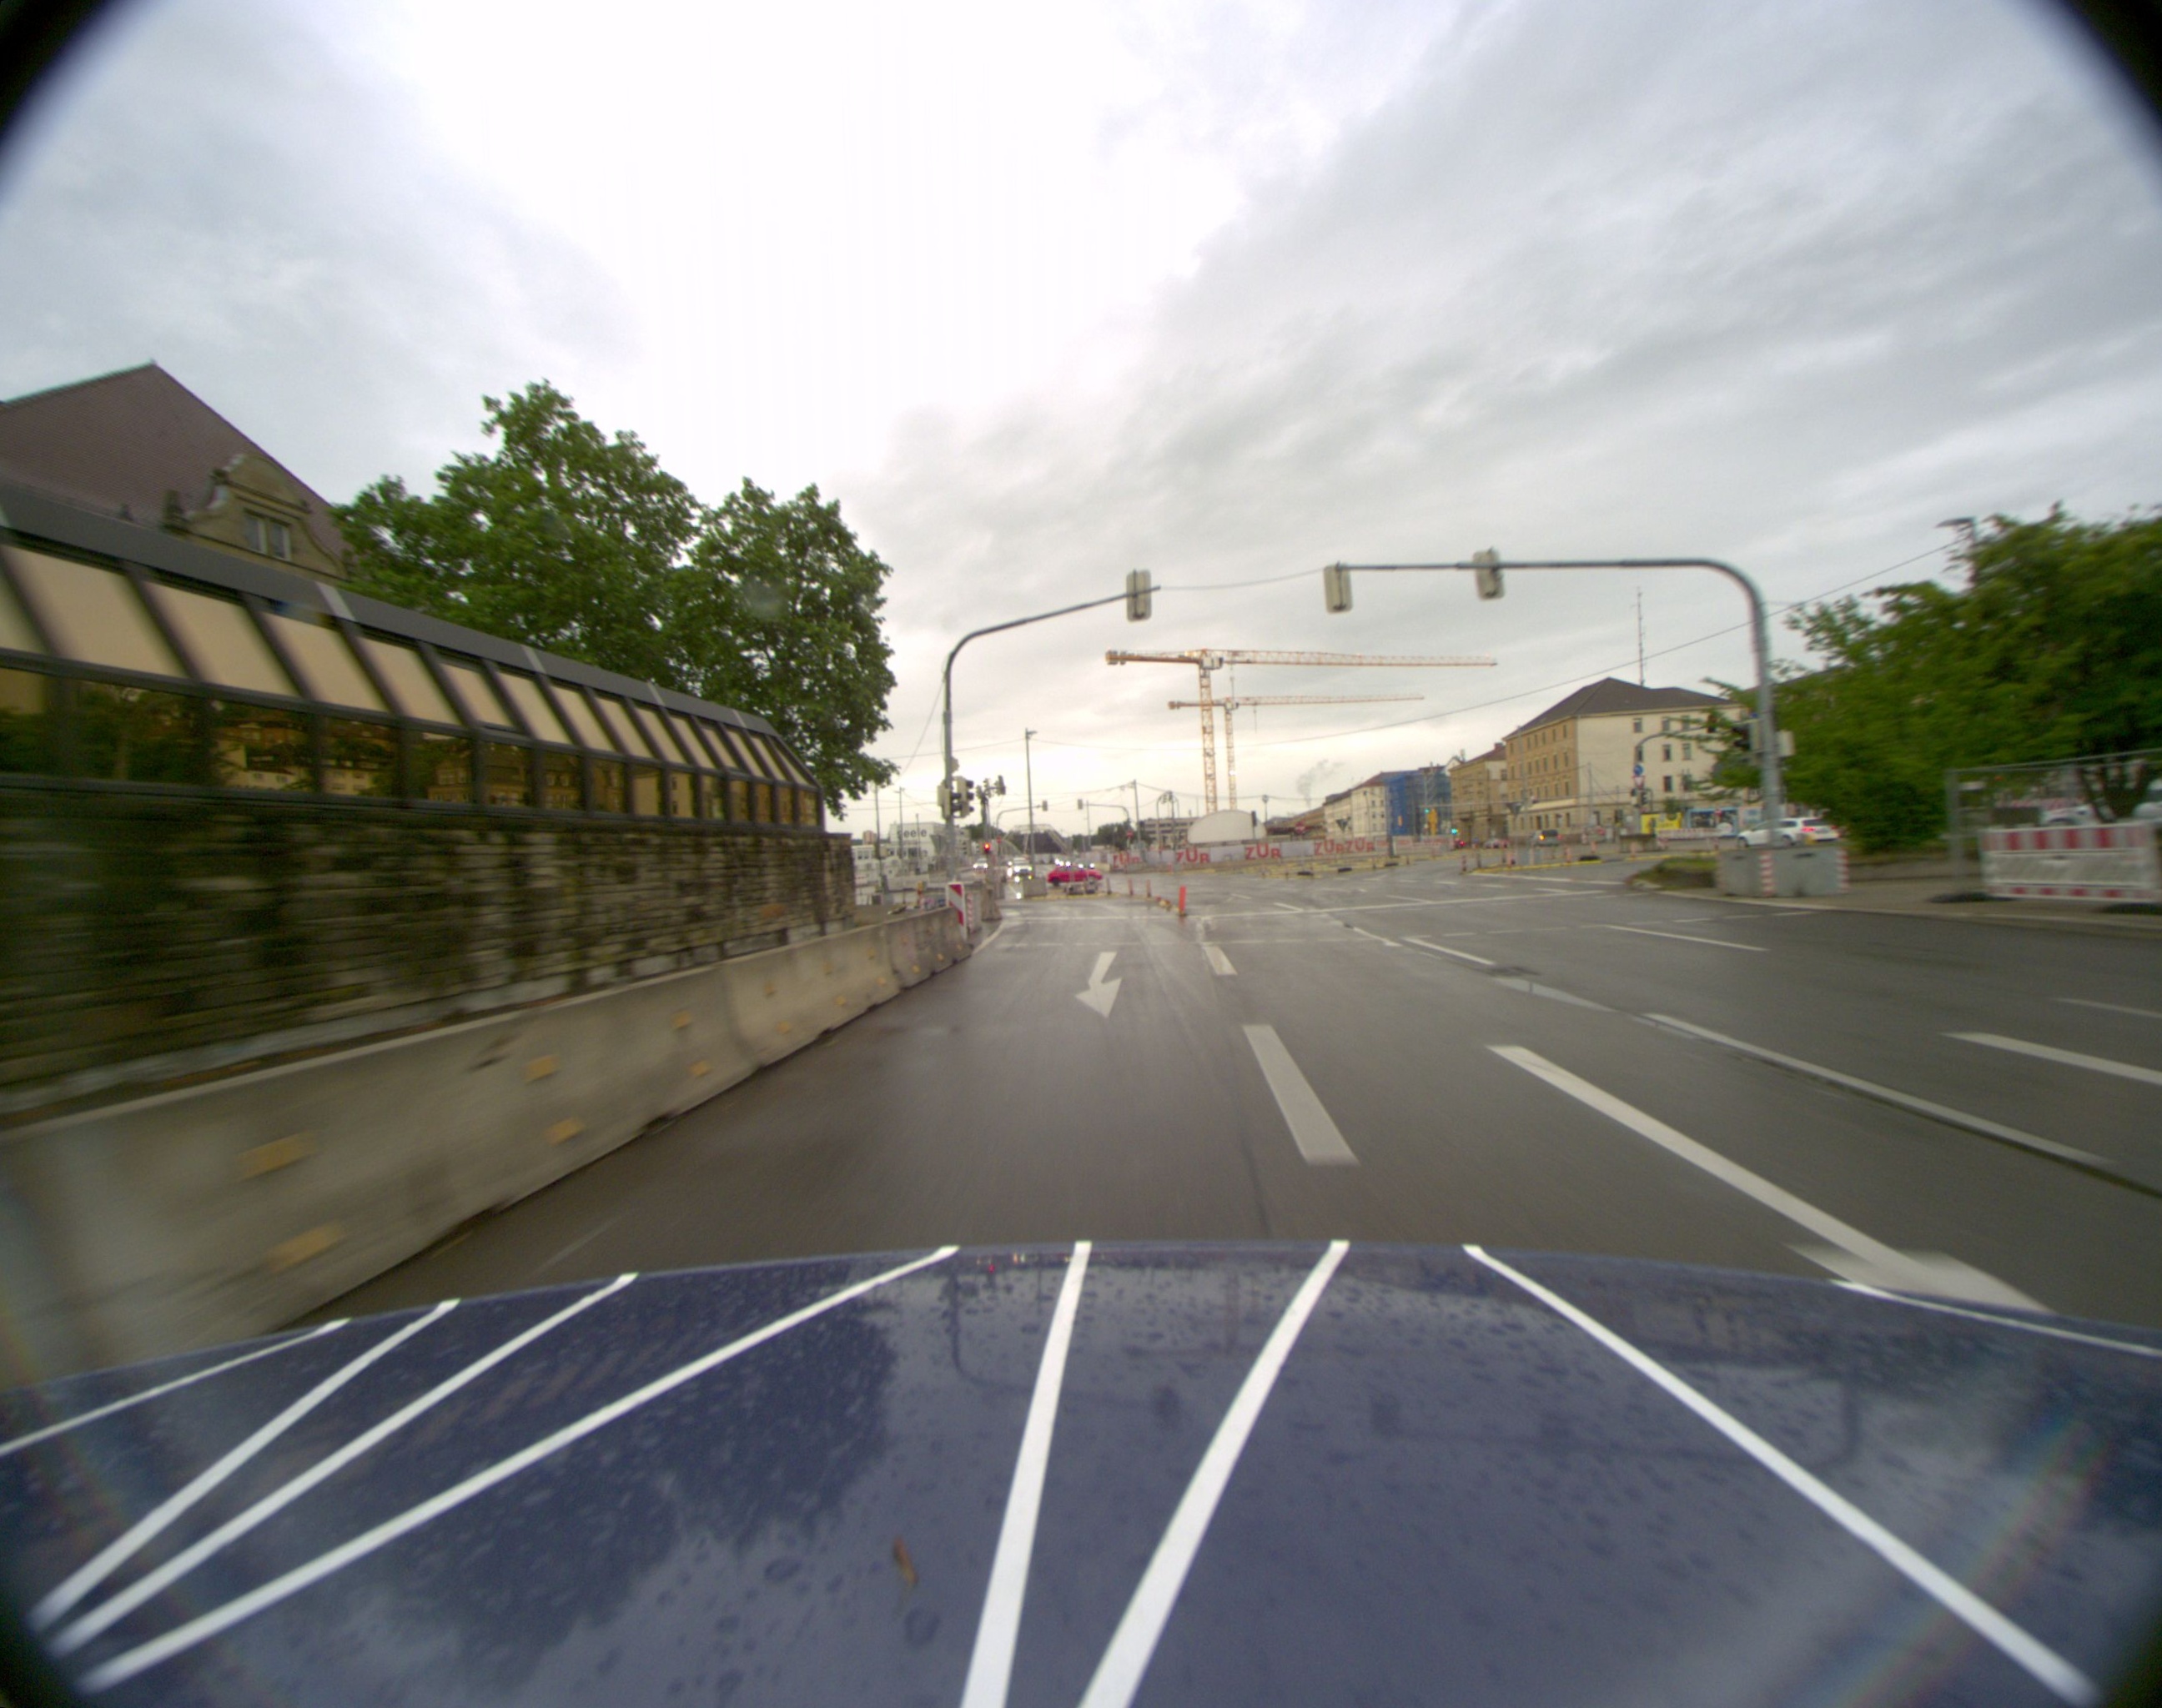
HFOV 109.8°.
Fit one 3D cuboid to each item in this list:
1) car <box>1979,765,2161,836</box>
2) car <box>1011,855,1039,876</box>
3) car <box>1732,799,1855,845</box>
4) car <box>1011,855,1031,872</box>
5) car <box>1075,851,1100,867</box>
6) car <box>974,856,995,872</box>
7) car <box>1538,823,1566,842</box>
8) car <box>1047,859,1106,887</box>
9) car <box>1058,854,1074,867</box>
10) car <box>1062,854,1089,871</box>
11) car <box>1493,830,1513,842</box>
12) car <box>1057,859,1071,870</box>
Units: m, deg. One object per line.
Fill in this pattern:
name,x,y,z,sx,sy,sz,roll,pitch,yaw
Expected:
car,35.479,-1.839,26.026,2.371,2.161,5.678,-5,1,-7
car,-6.103,1.279,82.316,2.001,2.002,4.418,-5,0,-15
car,35.779,-1.586,38.364,1.998,2.002,4.642,-5,1,5
car,-7.151,1.086,90.311,2.000,1.761,4.354,-5,0,-7
car,0.676,0.546,83.428,1.861,1.557,3.798,-5,0,-10
car,-12.302,1.236,96.638,1.999,1.761,4.356,-5,0,-1
car,50.036,-2.322,80.811,1.995,1.828,4.689,-4,1,26
car,-0.319,1.319,53.654,3.997,1.543,1.691,-5,1,1
car,-2.062,0.931,103.144,1.999,1.548,4.523,-5,0,-3
car,-0.705,1.023,89.001,2.001,1.707,4.418,-5,0,-15
car,57.928,-2.450,104.292,1.580,1.340,3.809,-5,2,17
car,-2.203,1.275,96.424,1.650,1.171,4.287,-4,1,-3
